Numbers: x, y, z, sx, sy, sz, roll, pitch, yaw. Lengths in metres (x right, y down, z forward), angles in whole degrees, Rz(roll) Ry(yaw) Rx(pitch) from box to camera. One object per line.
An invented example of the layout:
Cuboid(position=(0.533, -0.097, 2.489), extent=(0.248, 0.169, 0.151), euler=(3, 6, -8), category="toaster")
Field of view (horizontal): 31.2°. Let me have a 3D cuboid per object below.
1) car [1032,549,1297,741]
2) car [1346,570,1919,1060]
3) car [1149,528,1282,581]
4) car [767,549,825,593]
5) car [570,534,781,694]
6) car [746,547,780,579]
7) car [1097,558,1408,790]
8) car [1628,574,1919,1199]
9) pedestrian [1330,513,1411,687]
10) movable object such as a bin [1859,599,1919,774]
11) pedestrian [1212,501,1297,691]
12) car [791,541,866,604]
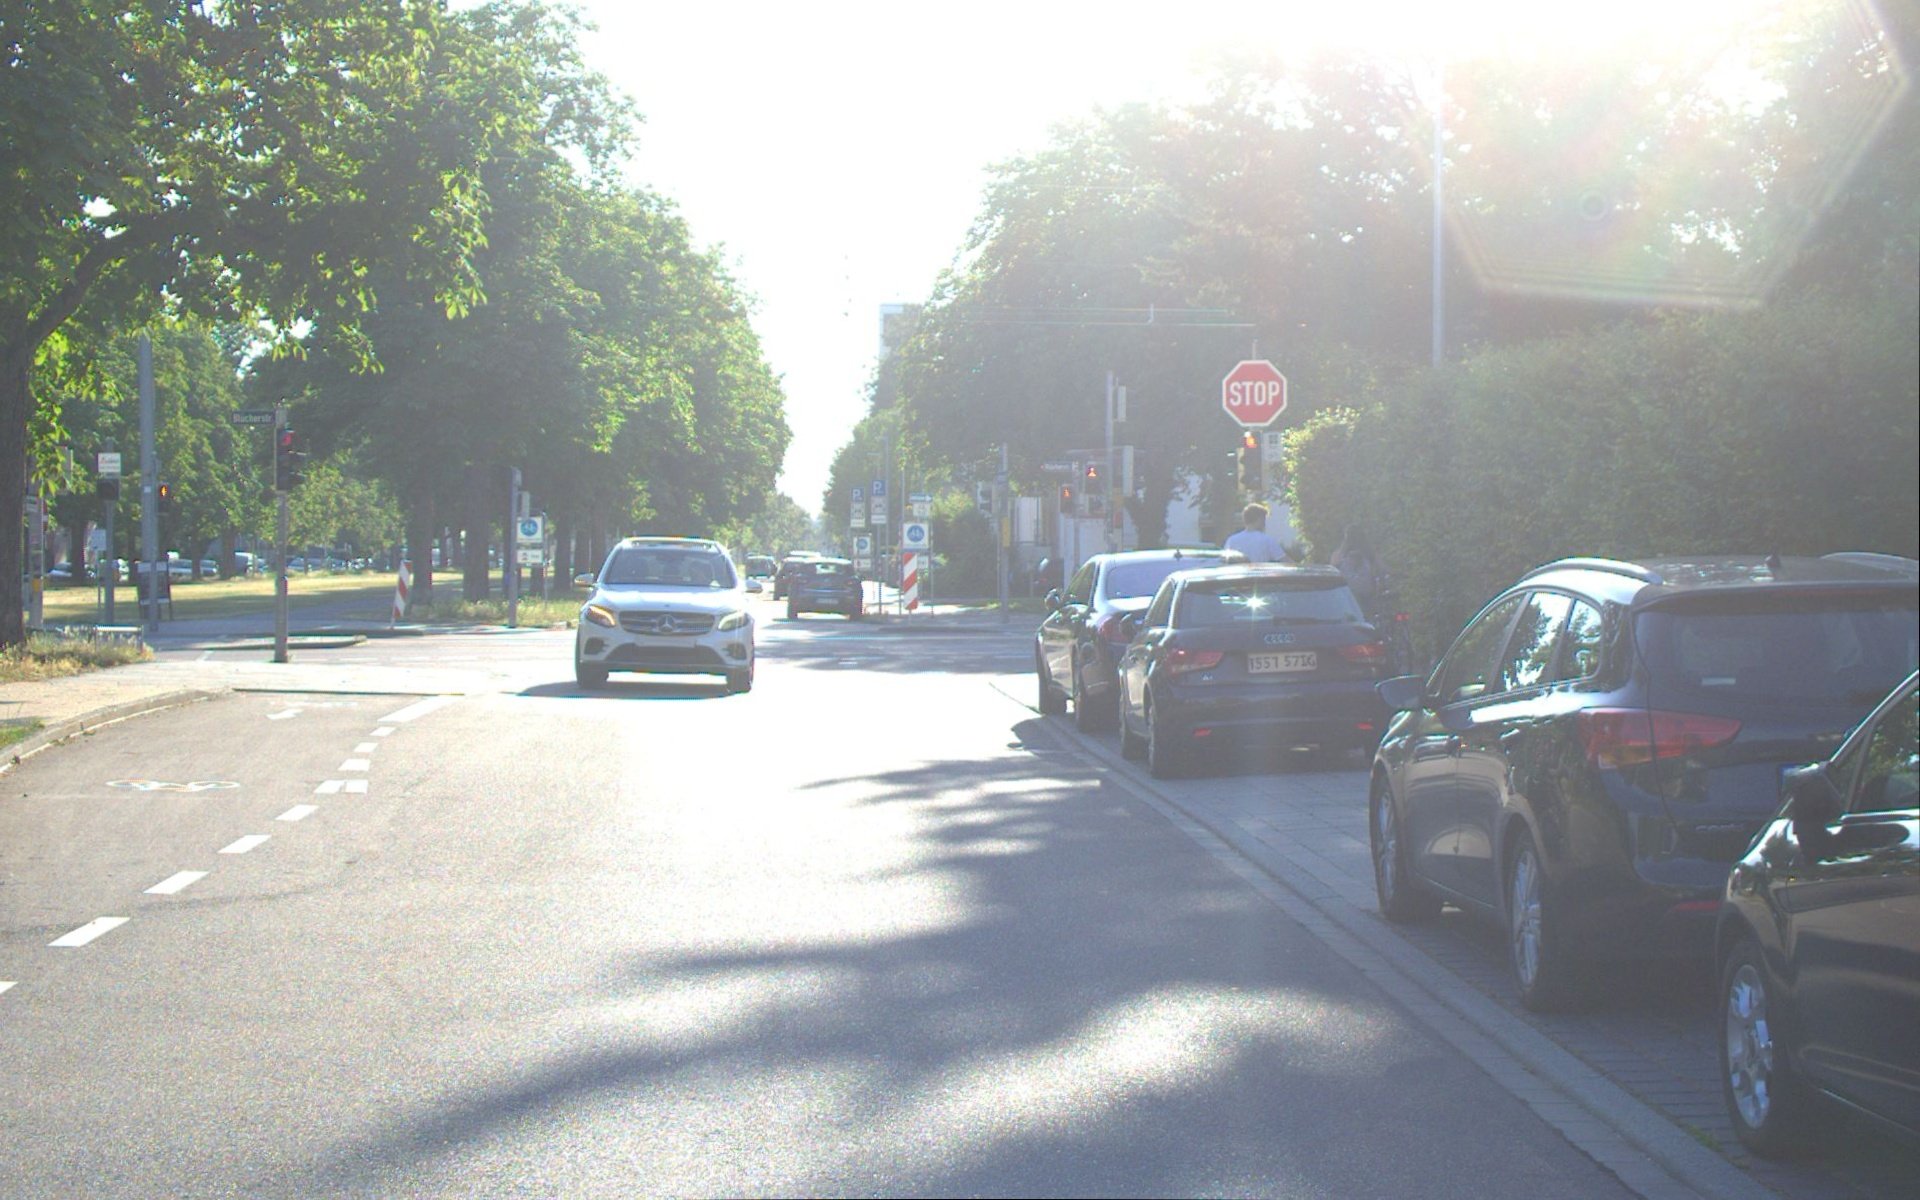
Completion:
Cuboid(position=(1.707, 0.325, 30.212), extent=(1.859, 1.537, 4.874), euler=(0, 1, -2), category="car")
Cuboid(position=(2.629, 0.633, 12.512), extent=(1.746, 1.469, 4.256), euler=(0, 1, -3), category="car")
Cuboid(position=(7.603, -1.375, 102.423), extent=(3.779, 1.520, 1.744), euler=(0, 2, -2), category="car")
Cuboid(position=(-5.480, -0.980, 114.880), extent=(1.845, 1.389, 3.829), euler=(1, 1, -2), category="car")
Cuboid(position=(-3.104, 0.104, 38.300), extent=(1.891, 1.671, 4.425), euler=(0, 1, 1), category="car")
Cuboid(position=(-12.850, -2.415, 224.439), extent=(2.134, 2.007, 3.902), euler=(0, 1, -2), category="car")
Cuboid(position=(1.979, 0.456, 24.282), extent=(1.641, 1.423, 3.937), euler=(-2, 1, -3), category="car")
Cuboid(position=(2.833, 0.695, 7.511), extent=(1.718, 1.466, 3.984), euler=(-3, 1, -3), category="car")
Cuboid(position=(4.058, -0.002, 34.023), extent=(0.669, 1.702, 0.623), euler=(0, 1, -5), category="pedestrian")
Cuboid(position=(5.854, 0.519, 20.952), extent=(0.507, 1.039, 0.659), euler=(0, 1, -8), category="movable object such as a bin")
Cuboid(position=(2.922, -0.047, 34.148), extent=(0.670, 1.859, 0.882), euler=(1, 1, -5), category="pedestrian")
Cuboid(position=(-3.073, -0.660, 80.943), extent=(1.641, 1.446, 3.307), euler=(0, 1, 0), category="car")
